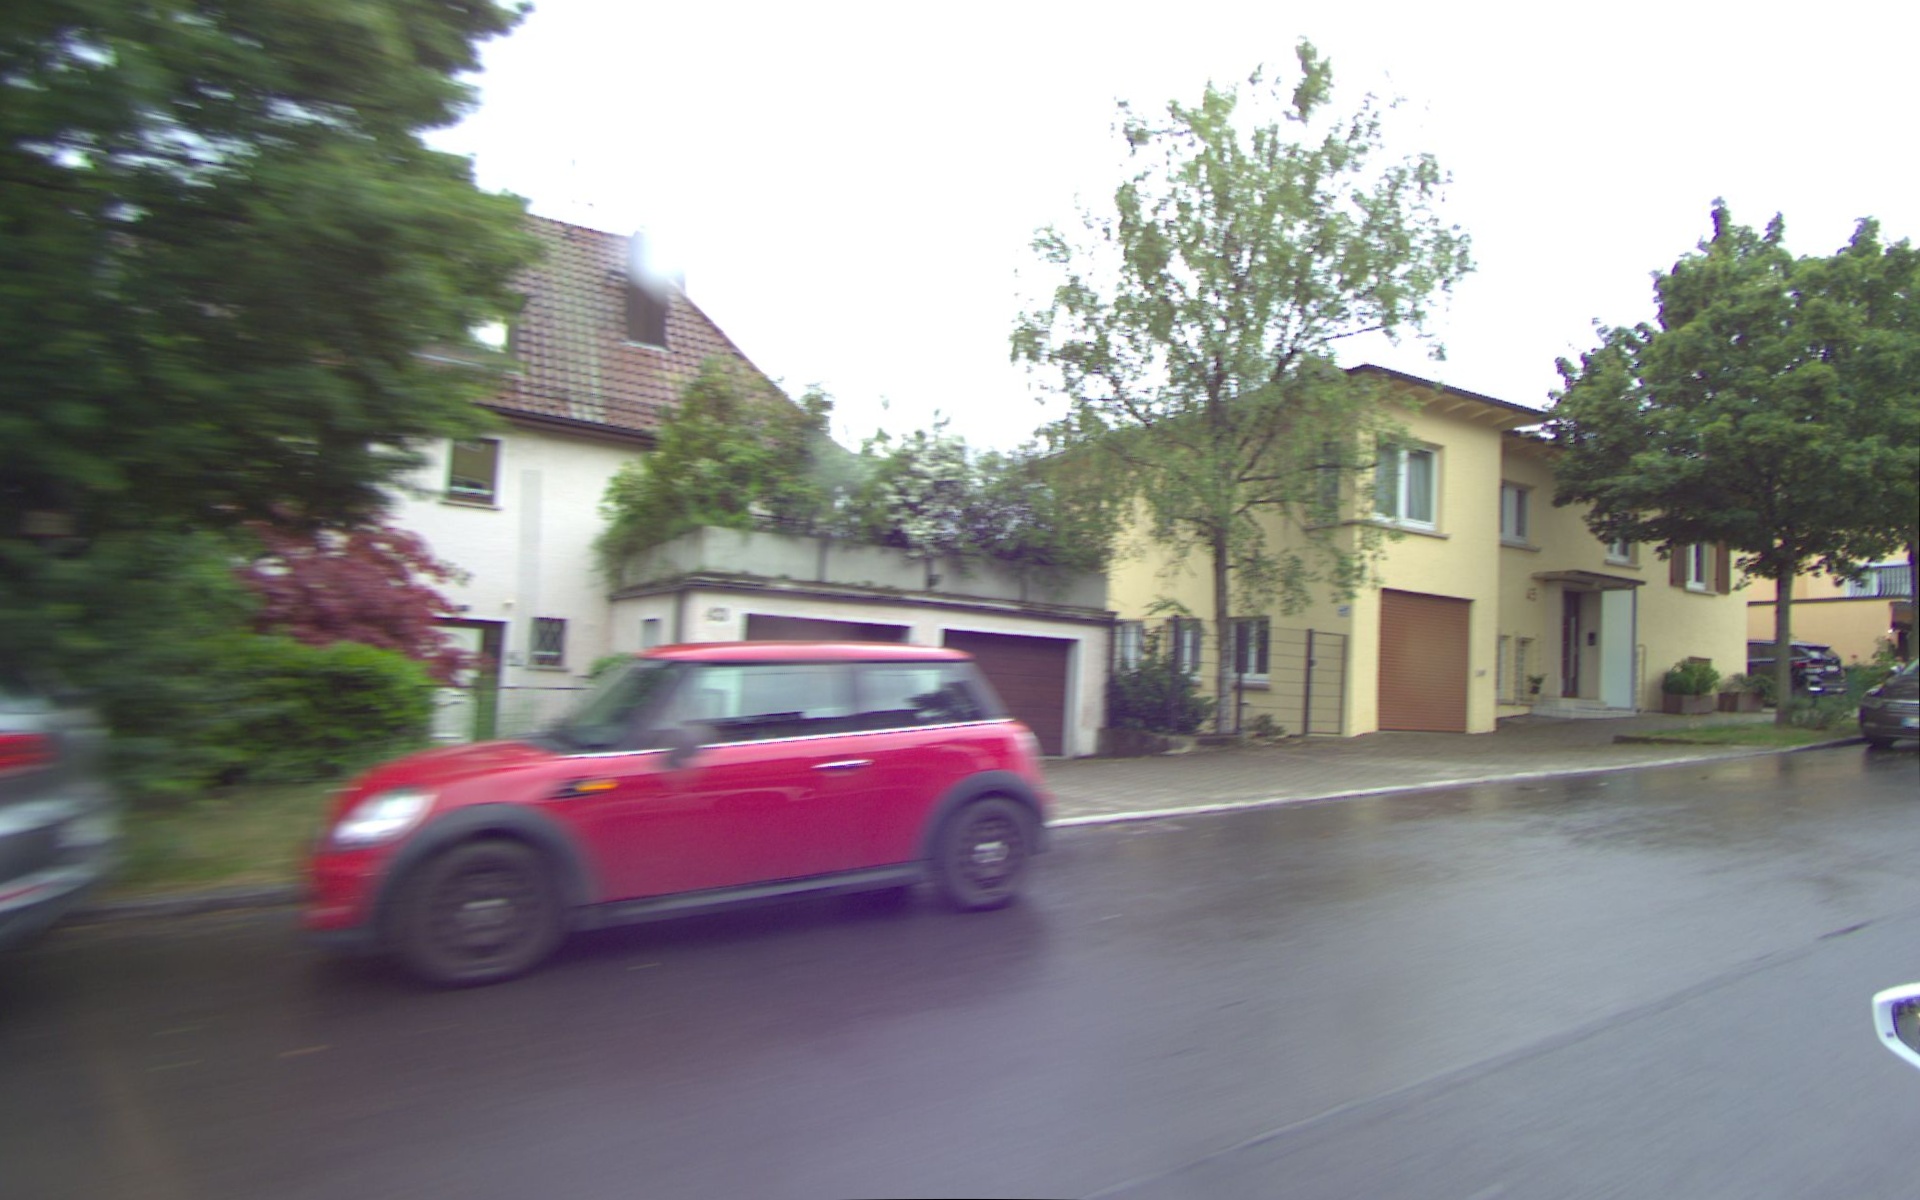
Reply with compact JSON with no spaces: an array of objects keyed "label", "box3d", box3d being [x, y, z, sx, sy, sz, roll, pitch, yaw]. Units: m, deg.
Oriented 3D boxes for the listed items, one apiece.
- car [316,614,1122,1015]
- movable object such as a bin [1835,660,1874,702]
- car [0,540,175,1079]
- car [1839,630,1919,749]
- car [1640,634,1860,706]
[{"label":"car","box3d":[-1.142,0.882,5.452,3.819,1.491,1.675,2,-3,-30]},{"label":"movable object such as a bin","box3d":[22.714,2.044,25.503,0.579,1.037,0.584,1,-1,-28]},{"label":"car","box3d":[-5.185,0.636,2.882,4.376,1.690,1.792,2,-3,-32]},{"label":"car","box3d":[14.633,1.205,14.246,4.549,1.555,1.761,1,-4,-29]},{"label":"car","box3d":[20.039,1.725,25.687,1.839,1.667,4.041,1,-3,-25]}]
